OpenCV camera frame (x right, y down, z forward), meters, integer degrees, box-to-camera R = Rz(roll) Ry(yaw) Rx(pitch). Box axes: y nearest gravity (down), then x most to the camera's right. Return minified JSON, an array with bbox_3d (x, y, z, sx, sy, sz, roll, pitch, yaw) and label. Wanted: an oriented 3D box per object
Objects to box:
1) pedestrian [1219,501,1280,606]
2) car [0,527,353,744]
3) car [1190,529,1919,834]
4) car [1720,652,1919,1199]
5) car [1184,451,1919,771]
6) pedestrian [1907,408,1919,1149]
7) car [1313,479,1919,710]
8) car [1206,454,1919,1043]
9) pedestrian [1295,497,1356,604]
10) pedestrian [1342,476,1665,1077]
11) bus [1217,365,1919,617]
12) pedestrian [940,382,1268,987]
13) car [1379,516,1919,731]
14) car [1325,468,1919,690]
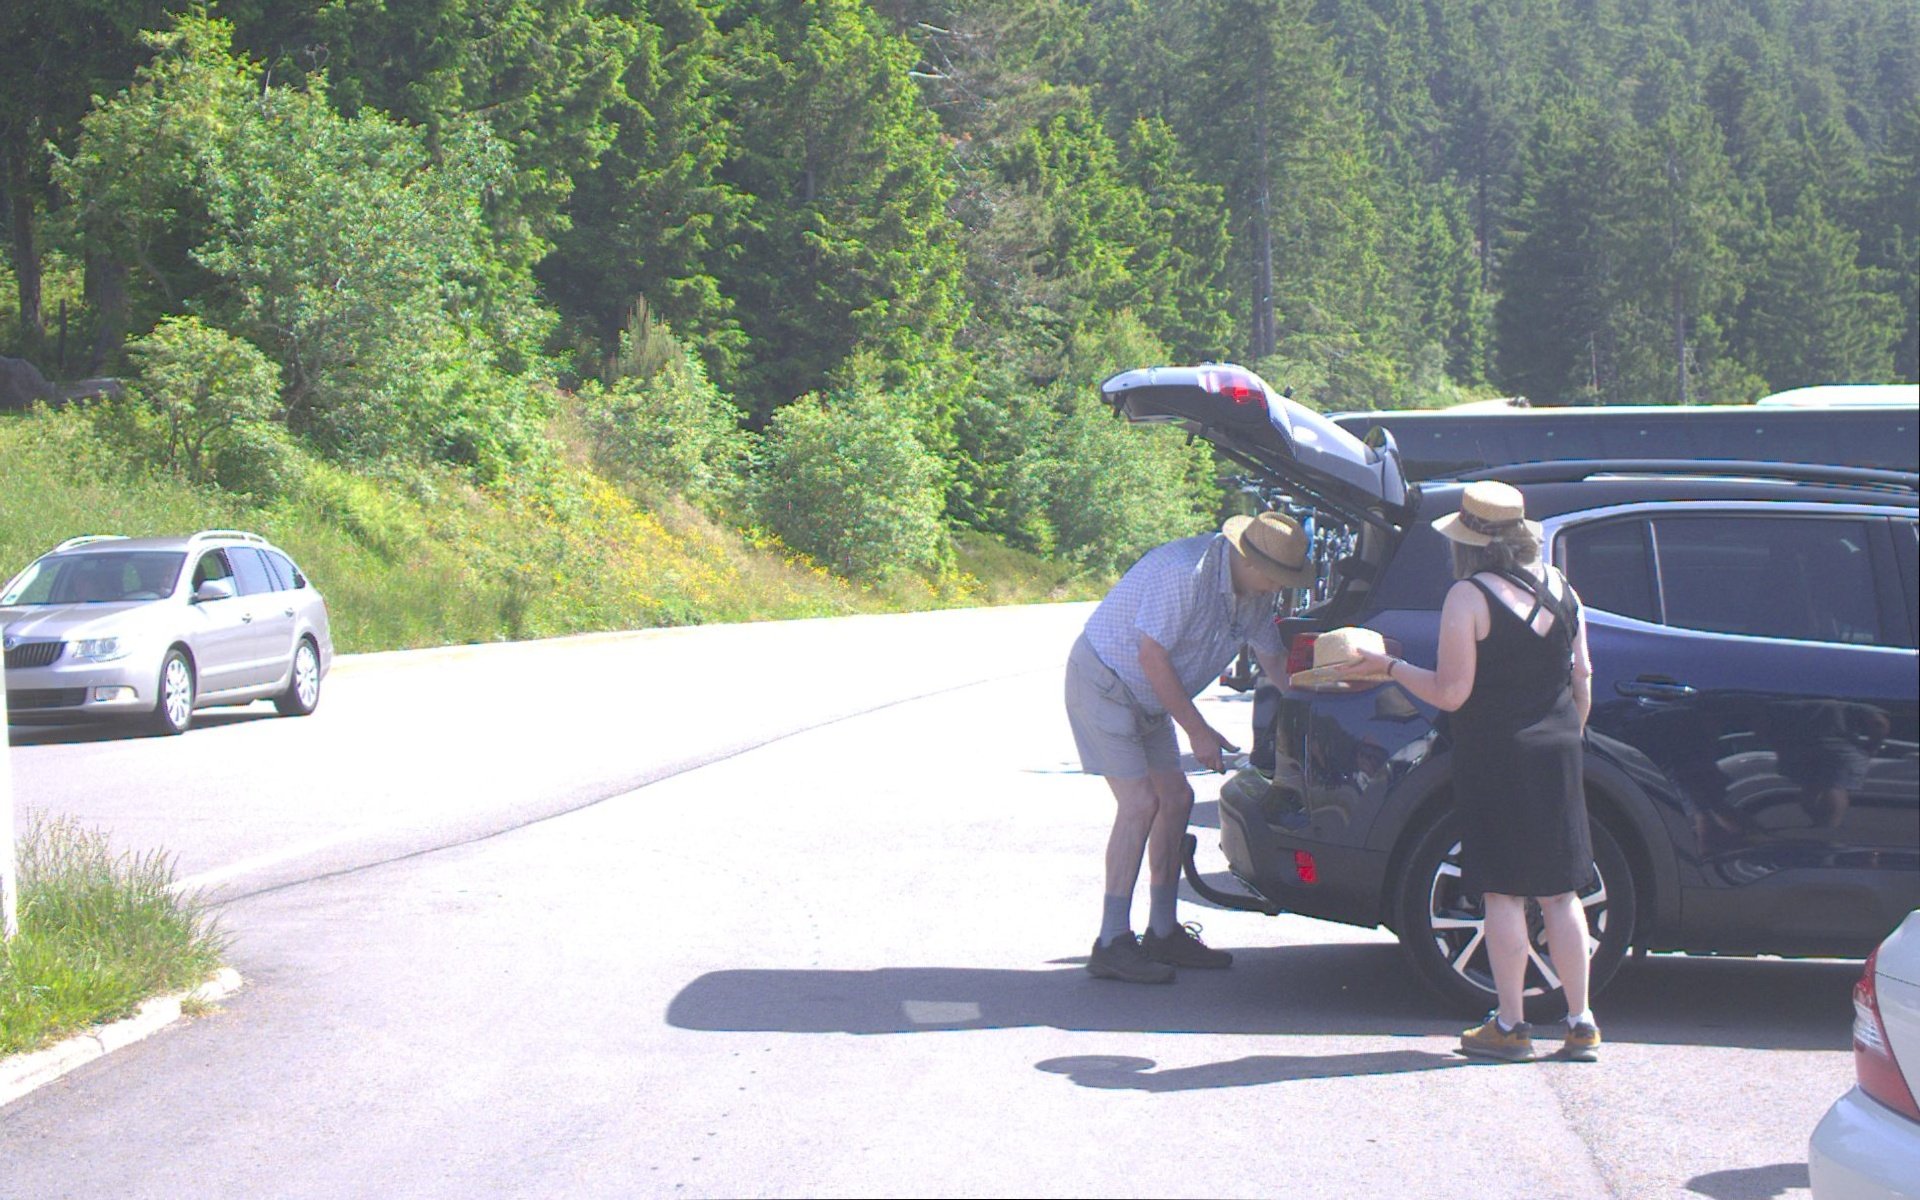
[{"bbox_3d":[4.431,-0.713,52.510,0.771,1.579,0.772,-1,1,15],"label":"pedestrian"},{"bbox_3d":[-6.279,0.196,25.982,1.880,1.469,4.713,0,1,9],"label":"car"},{"bbox_3d":[3.243,0.377,17.247,4.081,1.372,1.702,1,1,2],"label":"car"},{"bbox_3d":[3.552,0.815,5.118,4.396,1.291,1.756,1,2,-15],"label":"car"},{"bbox_3d":[3.855,0.046,19.482,4.951,1.690,1.944,-1,1,10],"label":"car"},{"bbox_3d":[2.806,0.440,8.170,0.745,1.794,0.736,1,1,-24],"label":"pedestrian"},{"bbox_3d":[4.789,-0.054,25.323,4.245,1.548,1.837,-1,1,8],"label":"car"},{"bbox_3d":[3.007,0.465,10.840,4.344,1.620,1.870,2,1,3],"label":"car"},{"bbox_3d":[5.530,-0.751,51.957,0.771,1.579,0.772,-1,1,15],"label":"pedestrian"},{"bbox_3d":[1.495,0.472,9.518,0.714,1.607,0.537,1,0,-12],"label":"pedestrian"},{"bbox_3d":[10.724,-1.643,52.761,13.105,3.520,3.041,-1,1,19],"label":"bus"},{"bbox_3d":[0.467,0.234,11.117,0.736,1.864,0.756,3,5,38],"label":"pedestrian"},{"bbox_3d":[4.881,0.122,22.222,4.245,1.264,1.837,-1,1,8],"label":"car"},{"bbox_3d":[5.561,-0.186,27.997,5.035,1.645,2.047,-1,1,8],"label":"car"}]
